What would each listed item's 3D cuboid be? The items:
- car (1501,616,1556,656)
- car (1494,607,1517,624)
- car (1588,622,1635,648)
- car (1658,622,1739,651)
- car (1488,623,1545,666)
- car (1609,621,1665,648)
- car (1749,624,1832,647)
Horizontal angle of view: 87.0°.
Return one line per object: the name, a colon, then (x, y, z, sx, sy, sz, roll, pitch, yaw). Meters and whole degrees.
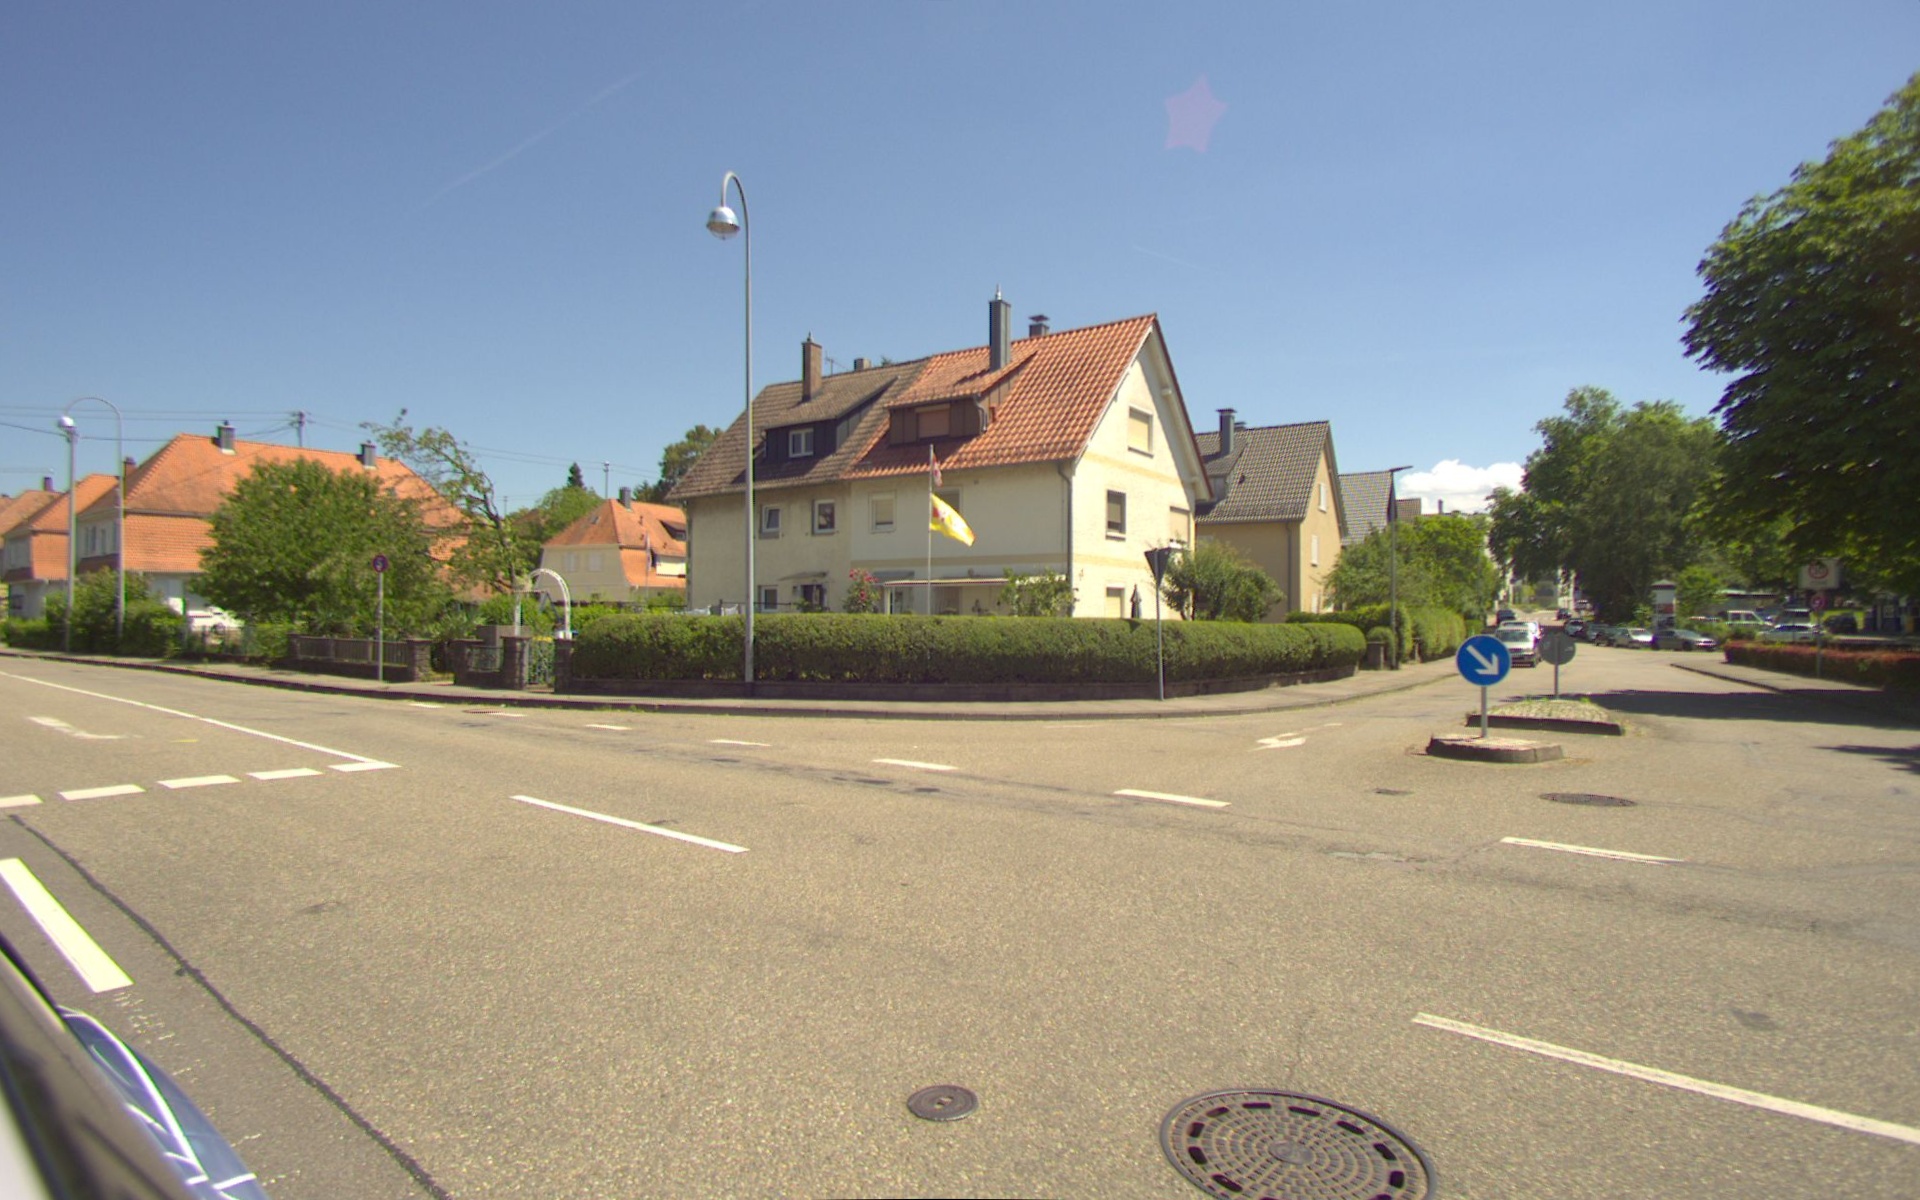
car: (28.606, 1.775, 50.872, 1.996, 1.844, 3.952, -2, -1, 35)
car: (61.534, 1.734, 114.222, 1.989, 1.756, 3.965, -2, -1, 26)
car: (47.324, 2.541, 73.592, 1.902, 1.719, 3.976, -2, -1, 18)
car: (46.787, 2.294, 64.225, 1.971, 1.663, 4.002, -1, -1, -3)
car: (22.864, 1.788, 41.543, 1.827, 1.598, 3.957, -2, -1, 32)
car: (46.308, 2.355, 69.305, 1.992, 1.658, 3.978, -2, -1, 16)
car: (55.919, 2.365, 68.203, 1.768, 1.451, 3.946, -1, -1, -27)
